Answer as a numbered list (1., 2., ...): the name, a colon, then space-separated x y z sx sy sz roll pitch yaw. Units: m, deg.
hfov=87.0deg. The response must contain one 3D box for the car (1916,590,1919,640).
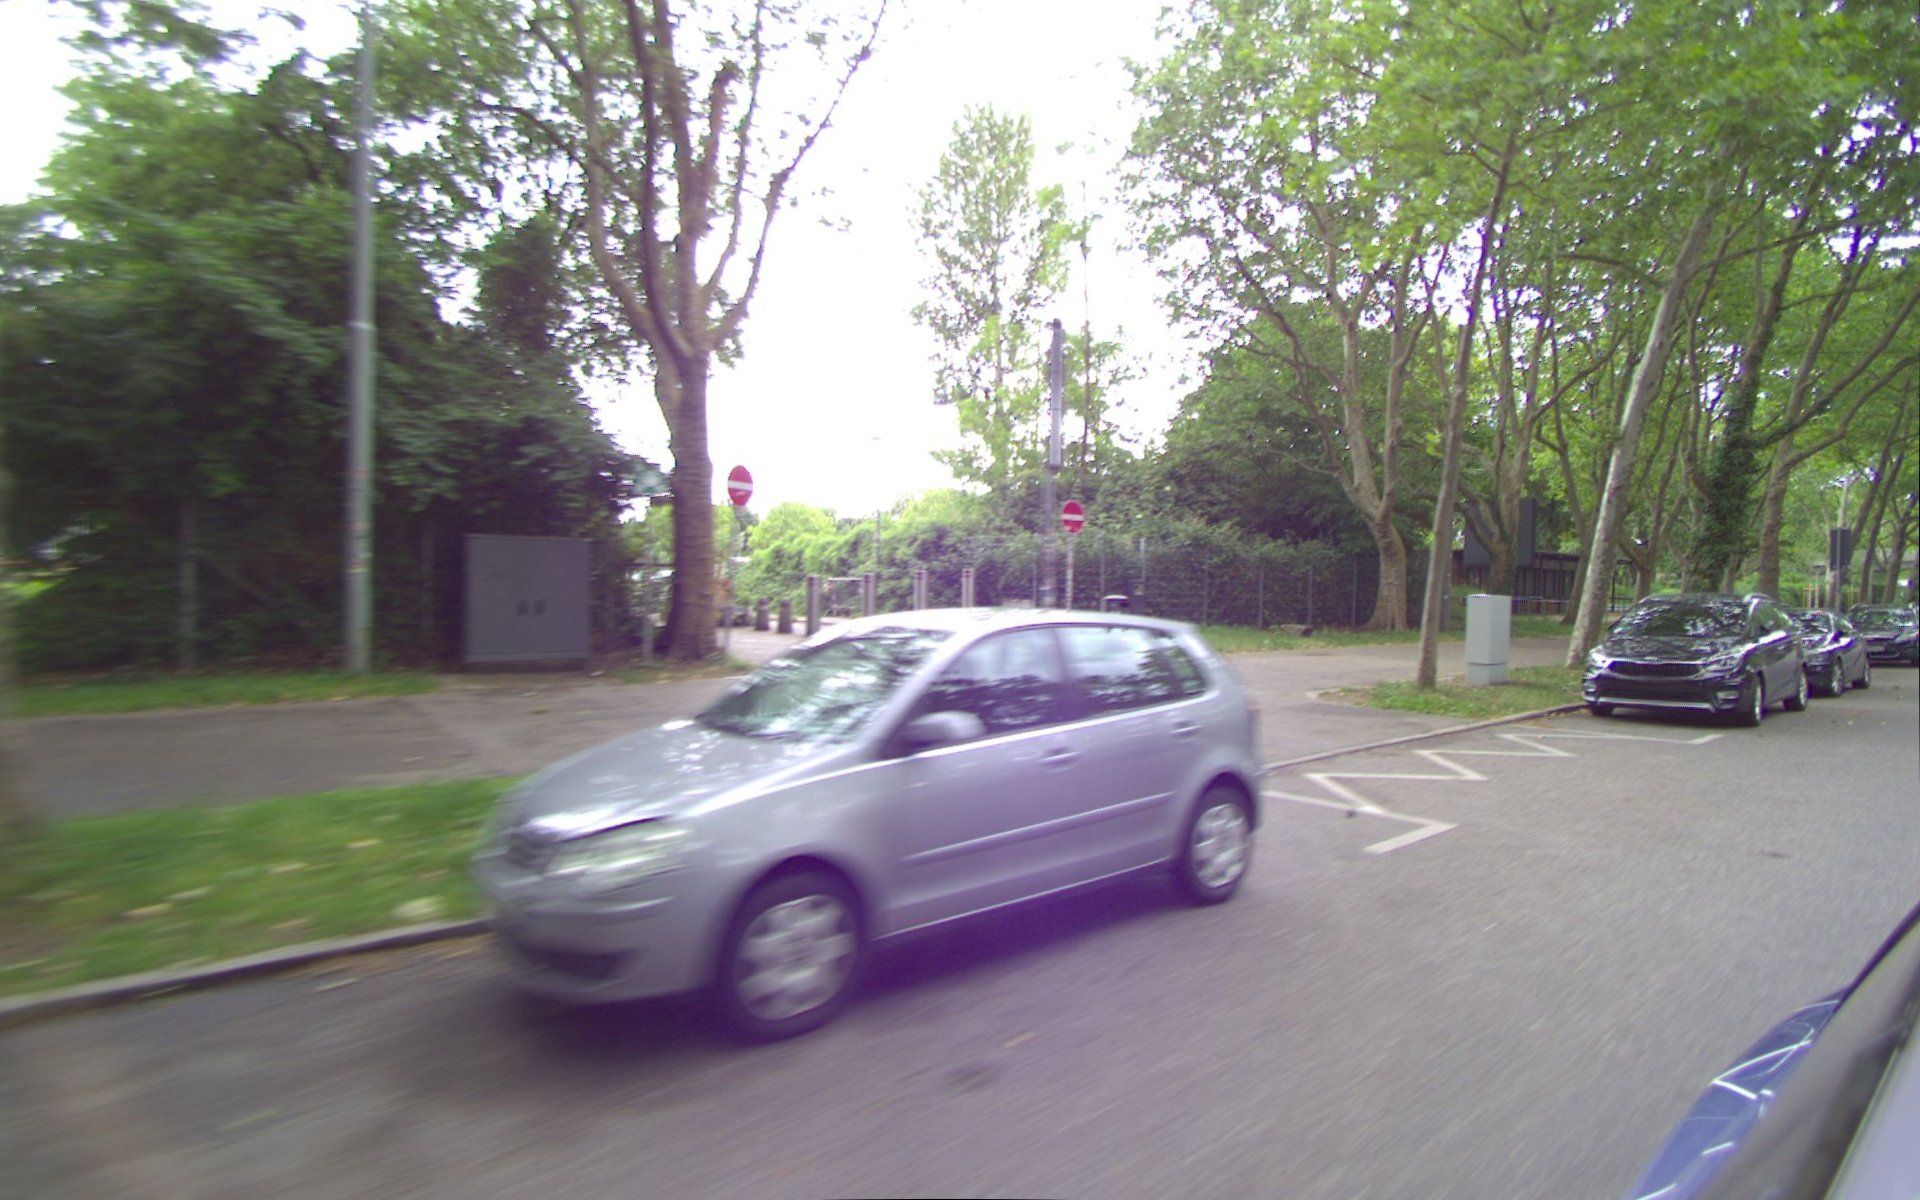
1. car: 33.474 0.474 33.797 4.150 1.638 1.782 0 -1 -40

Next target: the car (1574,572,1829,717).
1. car: 9.956 0.498 13.454 4.390 1.623 1.832 0 -1 -42

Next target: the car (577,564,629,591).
1. car: -20.100 -1.279 56.869 1.898 1.399 4.003 0 2 -32

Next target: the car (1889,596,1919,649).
1. car: 28.604 0.626 29.439 4.076 1.490 1.742 0 -1 -39

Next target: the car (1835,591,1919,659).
1. car: 23.404 0.585 25.260 4.320 1.573 1.779 0 -1 -42

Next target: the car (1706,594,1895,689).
1. car: 14.471 0.633 17.354 4.211 1.436 1.779 0 -1 -40

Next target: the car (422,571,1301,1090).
1. car: -0.212 0.661 4.760 3.874 1.480 1.622 0 -1 -39
